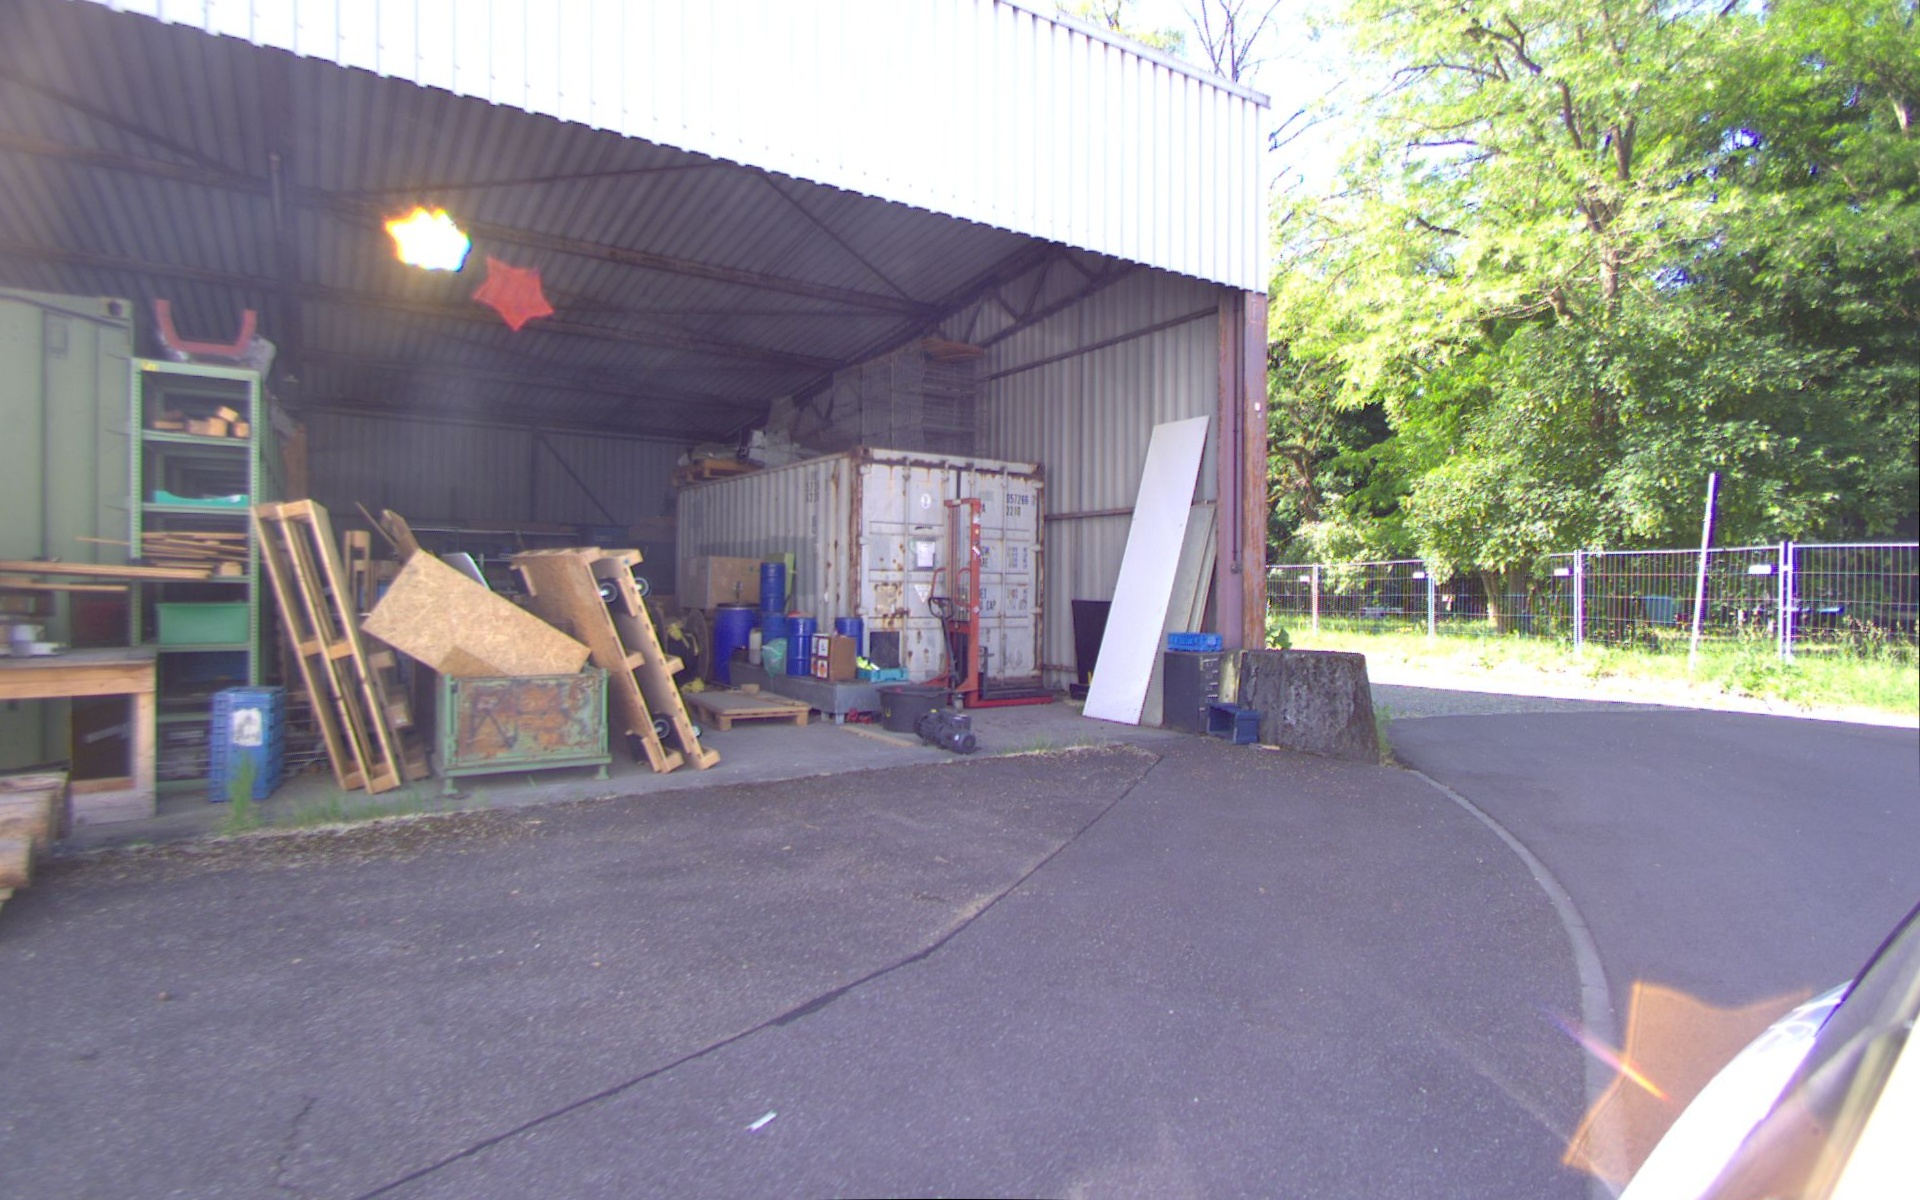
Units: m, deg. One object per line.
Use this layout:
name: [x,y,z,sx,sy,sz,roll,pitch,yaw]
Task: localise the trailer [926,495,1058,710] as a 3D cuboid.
trailer: [0.339,0.037,10.458,1.259,2.094,0.581,2,-3,-36]
